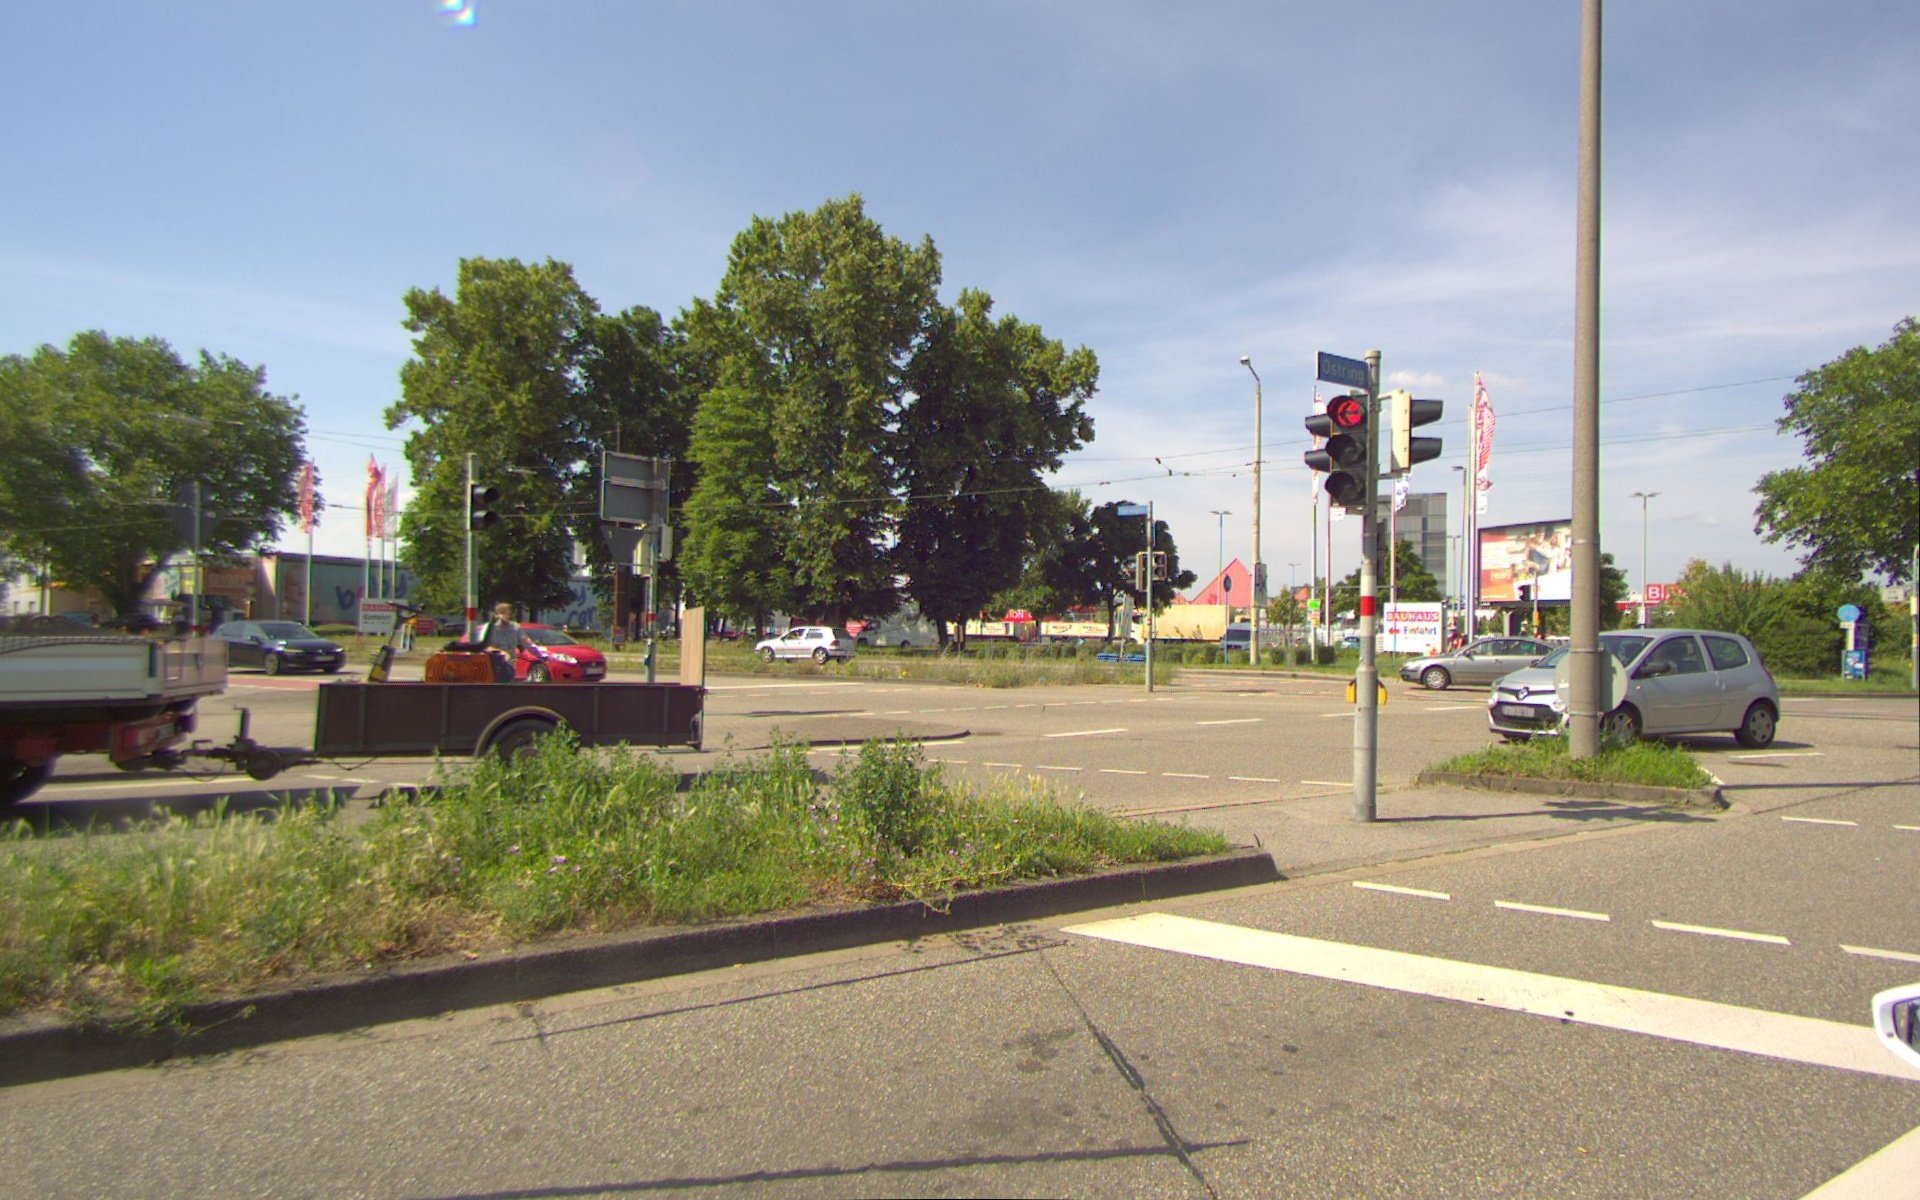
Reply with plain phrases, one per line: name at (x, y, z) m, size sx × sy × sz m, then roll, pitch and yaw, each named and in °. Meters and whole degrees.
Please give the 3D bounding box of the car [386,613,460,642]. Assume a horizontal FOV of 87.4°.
car at (-43.972, 2.263, 82.328) m, size 2.112 × 2.308 × 5.037 m, roll 0°, pitch -2°, yaw 26°

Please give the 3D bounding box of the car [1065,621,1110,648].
car at (12.546, 3.343, 98.435) m, size 2.344 × 2.562 × 6.118 m, roll 0°, pitch -2°, yaw 28°

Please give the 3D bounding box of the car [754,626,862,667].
car at (-5.817, 1.757, 38.478) m, size 3.788 × 1.446 × 1.698 m, roll 0°, pitch -2°, yaw 26°

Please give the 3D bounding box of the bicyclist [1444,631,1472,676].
bicyclist at (15.991, 1.716, 32.245) m, size 0.598 × 1.432 × 0.529 m, roll 1°, pitch -1°, yaw -7°

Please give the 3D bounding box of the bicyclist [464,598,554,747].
bicyclist at (-5.686, 0.890, 12.682) m, size 0.754 × 1.812 × 0.704 m, roll 0°, pitch -1°, yaw 31°

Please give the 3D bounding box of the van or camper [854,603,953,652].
van or camper at (-3.881, 1.843, 68.776) m, size 6.207 × 3.141 × 2.710 m, roll 1°, pitch -1°, yaw 26°

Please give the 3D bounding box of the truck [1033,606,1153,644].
truck at (10.969, 2.043, 83.151) m, size 9.431 × 2.930 × 2.925 m, roll 0°, pitch -2°, yaw 24°

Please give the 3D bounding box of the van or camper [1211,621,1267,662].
van or camper at (16.198, 2.400, 58.162) m, size 2.155 × 2.239 × 5.513 m, roll 0°, pitch -2°, yaw 26°

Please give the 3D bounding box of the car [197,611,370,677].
car at (-18.921, 1.210, 28.144) m, size 3.920 × 1.721 × 2.001 m, roll 0°, pitch -2°, yaw 18°

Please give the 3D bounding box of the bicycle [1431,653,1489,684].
bicycle at (16.025, 2.184, 32.197) m, size 1.719 × 0.950 × 0.434 m, roll 1°, pitch -1°, yaw -8°

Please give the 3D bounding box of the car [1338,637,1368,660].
car at (27.923, 3.426, 71.331) m, size 1.787 × 1.593 × 4.278 m, roll 0°, pitch -2°, yaw 24°

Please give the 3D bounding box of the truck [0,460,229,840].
truck at (-9.224, 0.282, 6.400) m, size 7.035 × 2.508 × 2.132 m, roll 2°, pitch -2°, yaw -26°

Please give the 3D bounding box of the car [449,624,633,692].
car at (-9.923, 1.326, 23.803) m, size 3.924 × 1.468 × 1.846 m, roll 0°, pitch -2°, yaw 25°

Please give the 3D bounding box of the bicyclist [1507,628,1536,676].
bicyclist at (17.725, 1.638, 31.699) m, size 0.599 × 1.511 × 0.528 m, roll 1°, pitch -1°, yaw -15°

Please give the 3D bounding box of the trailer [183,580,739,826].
trailer at (-4.170, 0.792, 8.929) m, size 3.938 × 1.738 × 2.055 m, roll 1°, pitch -2°, yaw -26°

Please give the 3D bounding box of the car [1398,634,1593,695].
car at (13.909, 1.638, 26.345) m, size 4.379 × 1.430 × 1.638 m, roll 0°, pitch -2°, yaw 26°

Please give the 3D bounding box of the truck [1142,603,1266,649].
truck at (18.482, 1.936, 76.194) m, size 8.753 × 3.355 × 3.159 m, roll 0°, pitch -2°, yaw 23°

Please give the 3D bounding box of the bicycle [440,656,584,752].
bicycle at (-5.657, 1.270, 12.640) m, size 2.128 × 1.078 × 0.524 m, roll 0°, pitch -2°, yaw 31°

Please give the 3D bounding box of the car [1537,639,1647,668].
car at (33.655, 2.819, 53.593) m, size 2.180 × 1.432 × 4.529 m, roll 2°, pitch -2°, yaw -37°

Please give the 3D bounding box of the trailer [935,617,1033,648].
trailer at (2.054, 2.791, 87.213) m, size 8.057 × 2.523 × 2.924 m, roll 0°, pitch -2°, yaw 26°

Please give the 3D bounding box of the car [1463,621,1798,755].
car at (8.560, 1.066, 12.885) m, size 3.676 × 1.534 × 1.649 m, roll 1°, pitch -1°, yaw -17°
